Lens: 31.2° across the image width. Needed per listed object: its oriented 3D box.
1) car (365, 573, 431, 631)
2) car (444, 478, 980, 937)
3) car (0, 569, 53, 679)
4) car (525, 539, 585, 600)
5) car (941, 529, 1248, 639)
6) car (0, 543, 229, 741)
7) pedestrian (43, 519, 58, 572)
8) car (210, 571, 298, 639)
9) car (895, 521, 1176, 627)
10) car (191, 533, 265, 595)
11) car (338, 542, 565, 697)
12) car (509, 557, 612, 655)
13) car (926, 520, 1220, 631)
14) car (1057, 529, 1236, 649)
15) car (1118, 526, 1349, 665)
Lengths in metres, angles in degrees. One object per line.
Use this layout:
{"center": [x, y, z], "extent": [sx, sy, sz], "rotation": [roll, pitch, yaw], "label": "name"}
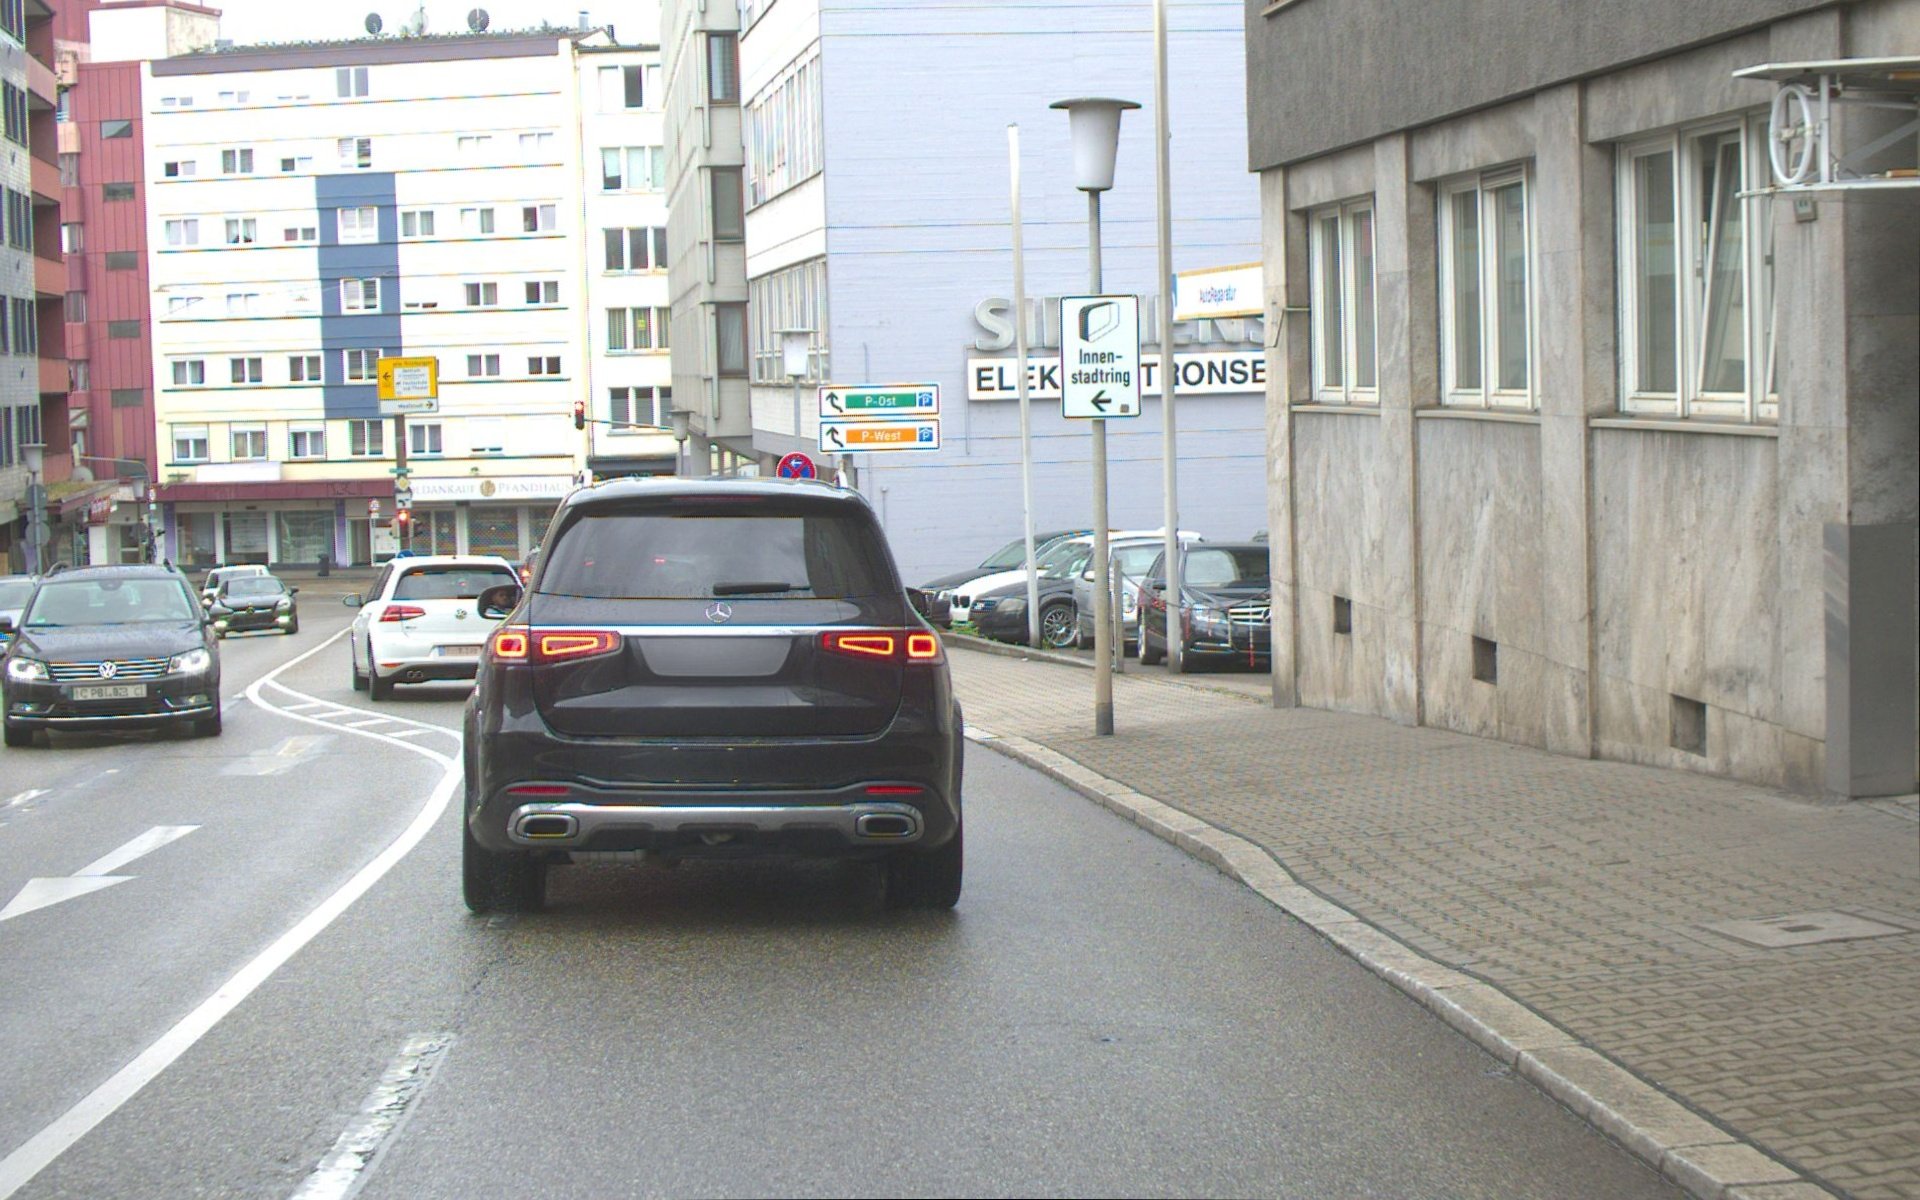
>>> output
{"center": [-13.511, 0.034, 82.756], "extent": [1.285, 1.120, 2.788], "rotation": [-1, 5, -4], "label": "car"}
{"center": [-1.174, 0.382, 15.451], "extent": [2.020, 1.733, 4.748], "rotation": [1, 1, -6], "label": "car"}
{"center": [-14.883, 0.396, 52.426], "extent": [1.714, 1.581, 4.145], "rotation": [-4, 1, -12], "label": "car"}
{"center": [-10.945, -0.839, 93.094], "extent": [1.522, 1.543, 3.108], "rotation": [-1, 2, -6], "label": "car"}
{"center": [1.901, -0.216, 48.527], "extent": [3.986, 1.489, 1.733], "rotation": [0, 0, -26], "label": "car"}
{"center": [-7.297, 0.330, 29.691], "extent": [1.723, 1.510, 4.370], "rotation": [-3, 1, -10], "label": "car"}
{"center": [-25.767, -1.538, 97.383], "extent": [0.318, 1.469, 0.339], "rotation": [-1, 5, -3], "label": "pedestrian"}
{"center": [-15.238, 0.090, 74.102], "extent": [1.714, 1.313, 4.145], "rotation": [-2, 2, -13], "label": "car"}
{"center": [1.181, -0.390, 53.646], "extent": [3.986, 1.592, 1.799], "rotation": [0, 0, -26], "label": "car"}
{"center": [-22.296, -1.111, 104.848], "extent": [1.869, 1.747, 4.400], "rotation": [-4, 2, -9], "label": "car"}
{"center": [-5.412, 0.164, 36.179], "extent": [1.829, 1.456, 4.380], "rotation": [-2, 1, -15], "label": "car"}
{"center": [-6.753, 0.078, 57.872], "extent": [1.522, 1.543, 3.108], "rotation": [-1, 2, -10], "label": "car"}
{"center": [1.686, -0.355, 51.077], "extent": [3.986, 1.592, 1.799], "rotation": [0, 0, -26], "label": "car"}
{"center": [2.364, -0.178, 44.415], "extent": [1.565, 1.472, 4.071], "rotation": [0, 1, -8], "label": "car"}
{"center": [3.026, -0.087, 38.911], "extent": [1.796, 1.472, 4.486], "rotation": [0, 1, -6], "label": "car"}
